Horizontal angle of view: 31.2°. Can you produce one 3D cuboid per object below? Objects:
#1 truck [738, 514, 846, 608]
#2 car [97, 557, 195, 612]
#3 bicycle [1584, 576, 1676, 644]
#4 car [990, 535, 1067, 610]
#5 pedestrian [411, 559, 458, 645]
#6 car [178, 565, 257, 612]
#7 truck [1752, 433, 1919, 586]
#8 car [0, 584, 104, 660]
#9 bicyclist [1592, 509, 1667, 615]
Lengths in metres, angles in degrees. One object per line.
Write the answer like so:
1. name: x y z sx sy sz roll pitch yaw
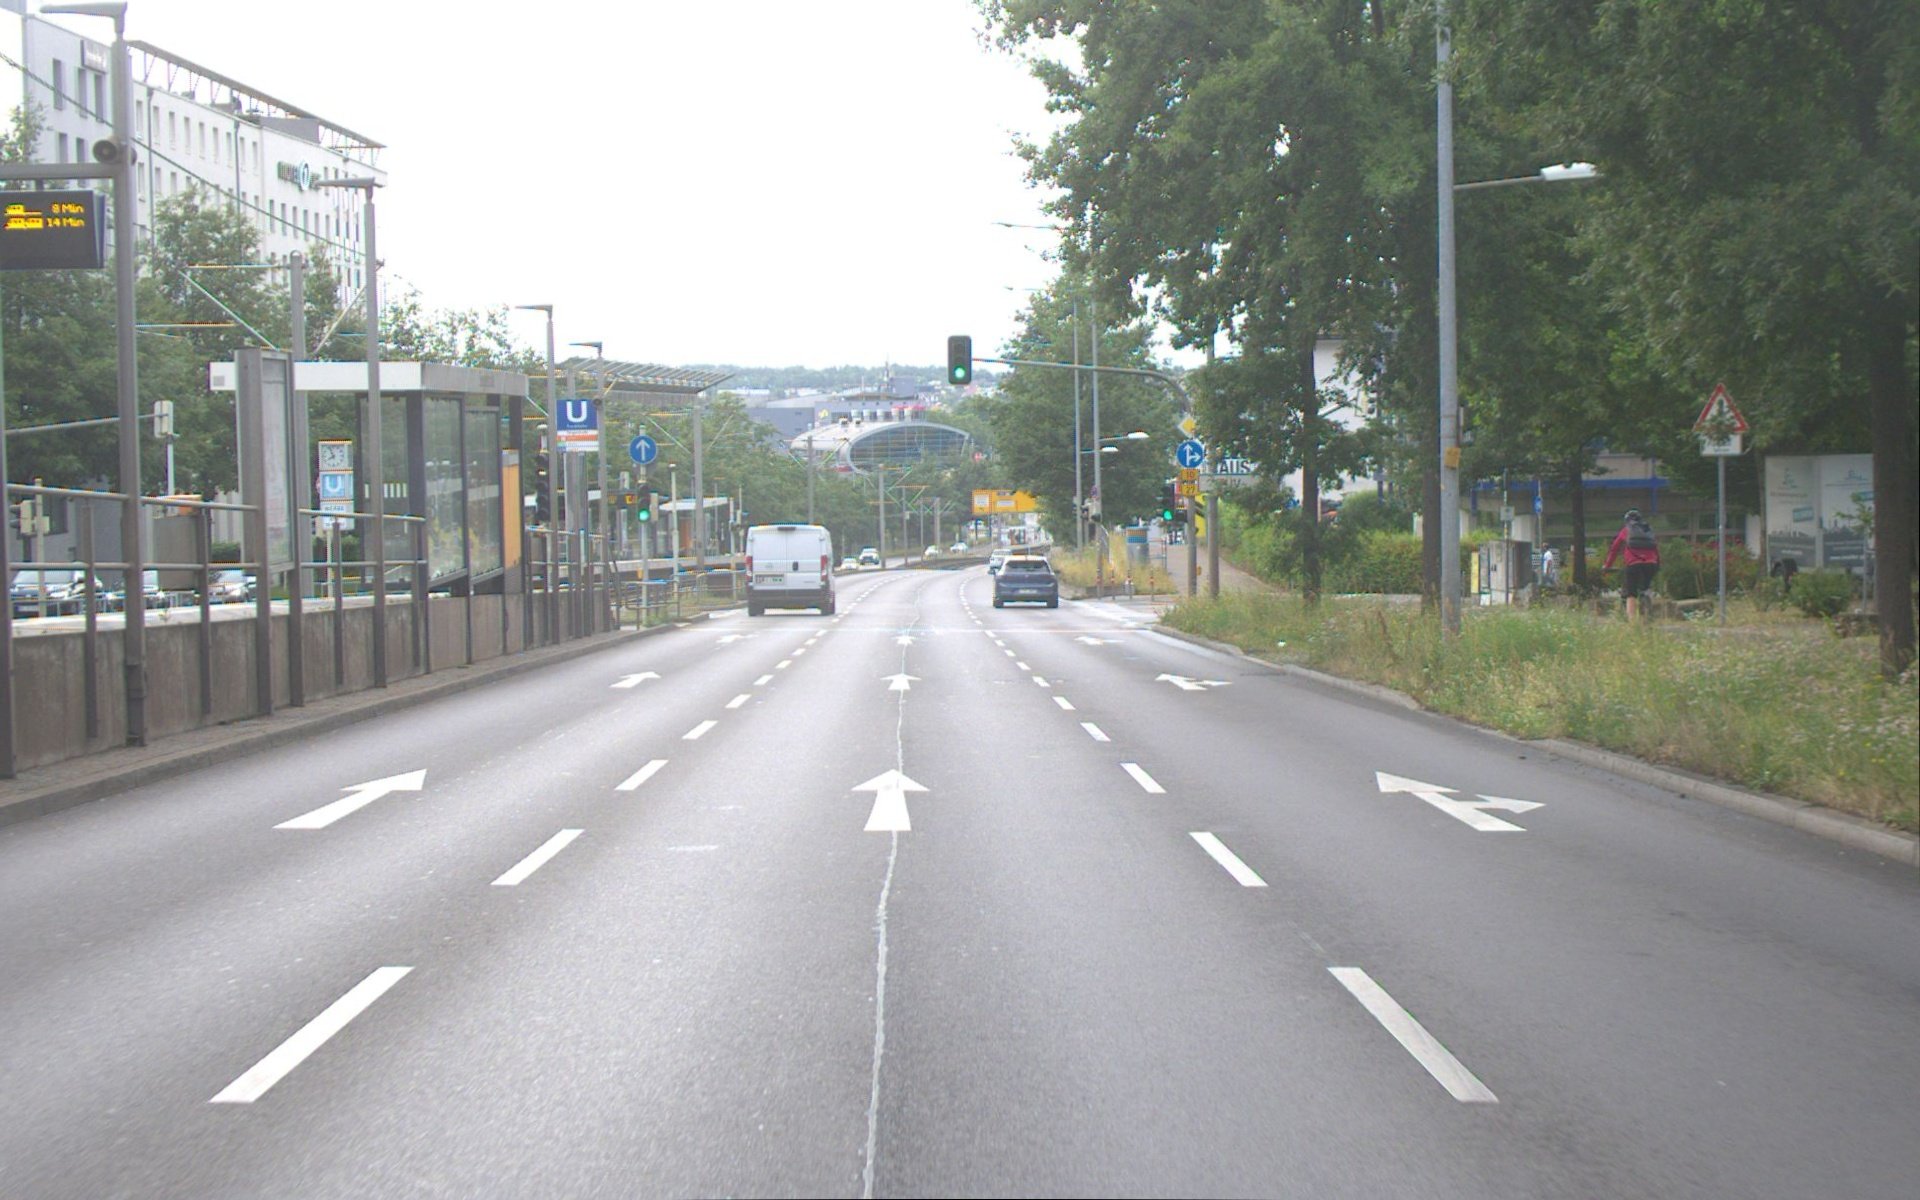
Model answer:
1. truck: -4.177 -0.969 86.297 2.360 2.254 5.306 1 0 1
2. car: -22.854 -0.460 96.650 1.853 1.422 4.389 -2 1 -3
3. bicycle: 8.388 0.115 43.131 0.667 0.806 2.318 1 0 -1
4. car: 1.923 -0.770 95.934 1.994 2.007 3.934 1 0 3
5. pedestrian: -10.175 0.027 66.569 0.700 1.645 0.649 0 1 -29
6. car: -23.448 -0.389 108.606 1.728 1.418 3.780 -1 1 -1
7. truck: 15.010 -1.509 58.732 1.746 2.509 4.001 1 0 -4
8. car: -22.814 0.517 85.444 1.993 1.768 4.389 -1 1 -1
9. bicyclist: 8.390 -0.478 43.133 0.655 1.284 1.219 1 1 -1
